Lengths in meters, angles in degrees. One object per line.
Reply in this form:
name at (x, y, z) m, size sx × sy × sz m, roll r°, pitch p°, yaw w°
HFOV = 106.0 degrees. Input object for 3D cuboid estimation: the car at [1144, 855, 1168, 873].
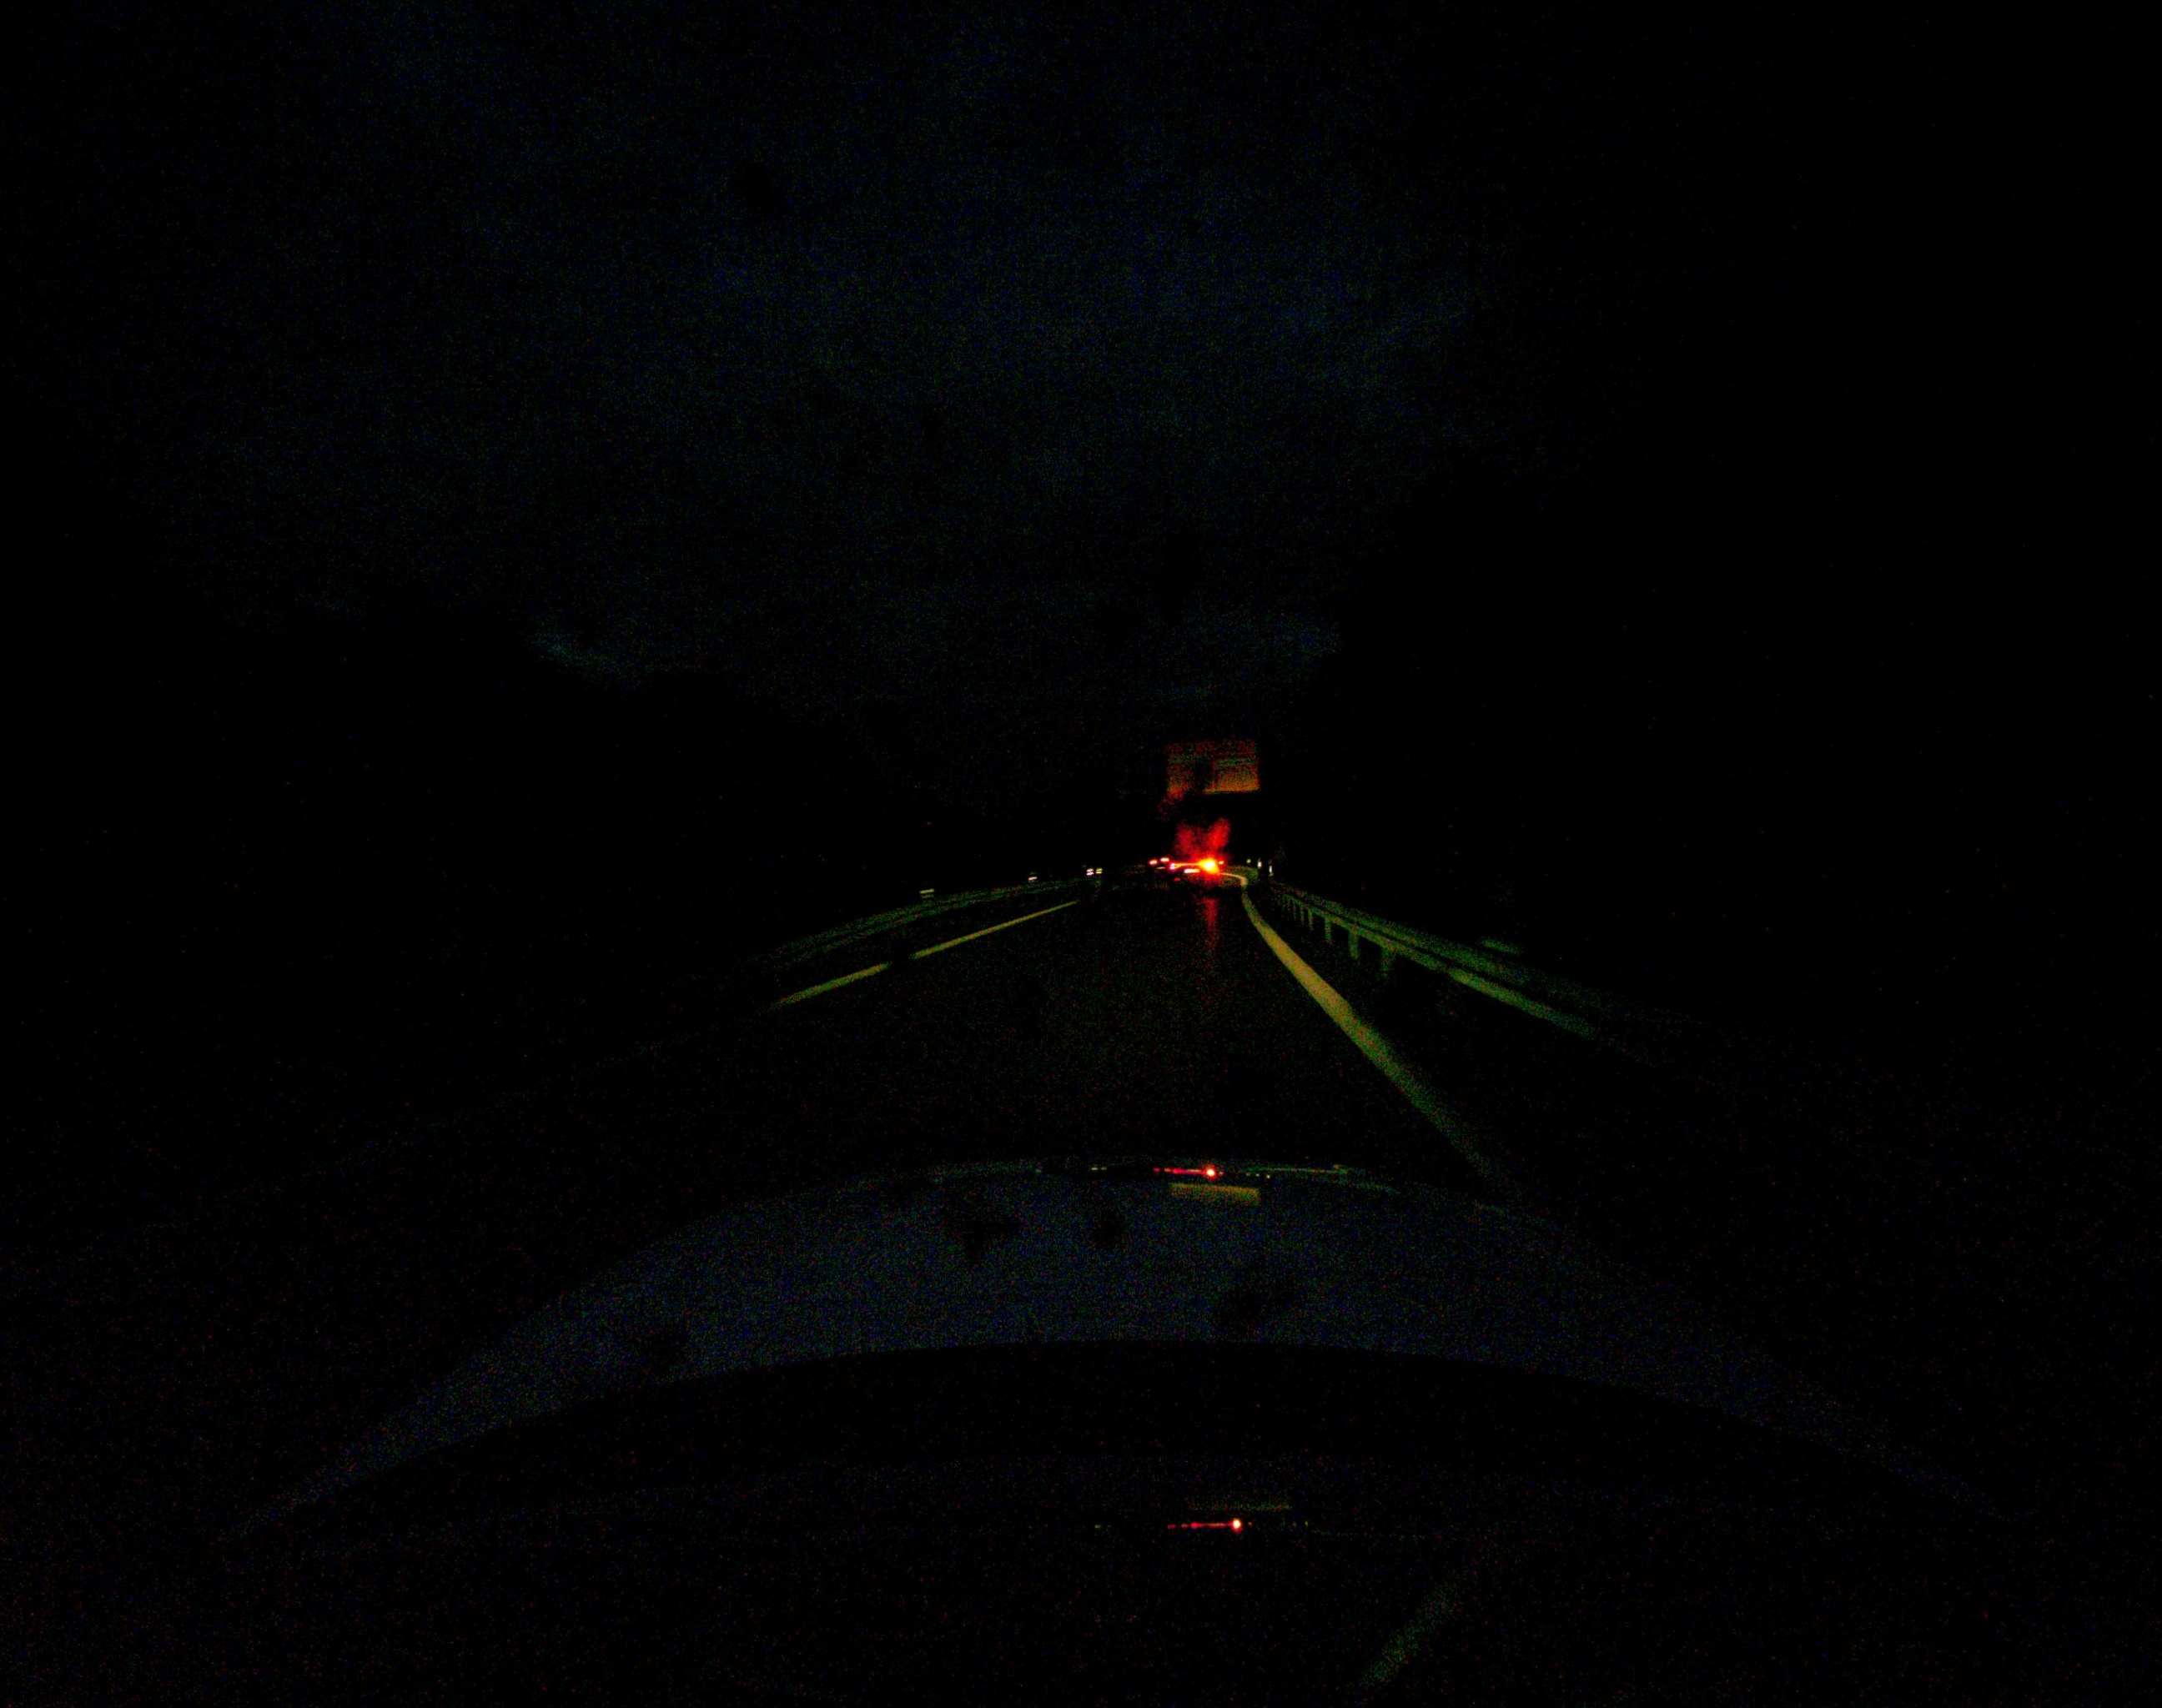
car at (6.936, 0.877, 75.838) m, size 1.986 × 1.598 × 4.002 m, roll 0°, pitch 0°, yaw 2°

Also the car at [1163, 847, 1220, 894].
car at (4.368, 0.596, 31.710) m, size 1.981 × 1.659 × 4.326 m, roll -2°, pitch -1°, yaw 9°
